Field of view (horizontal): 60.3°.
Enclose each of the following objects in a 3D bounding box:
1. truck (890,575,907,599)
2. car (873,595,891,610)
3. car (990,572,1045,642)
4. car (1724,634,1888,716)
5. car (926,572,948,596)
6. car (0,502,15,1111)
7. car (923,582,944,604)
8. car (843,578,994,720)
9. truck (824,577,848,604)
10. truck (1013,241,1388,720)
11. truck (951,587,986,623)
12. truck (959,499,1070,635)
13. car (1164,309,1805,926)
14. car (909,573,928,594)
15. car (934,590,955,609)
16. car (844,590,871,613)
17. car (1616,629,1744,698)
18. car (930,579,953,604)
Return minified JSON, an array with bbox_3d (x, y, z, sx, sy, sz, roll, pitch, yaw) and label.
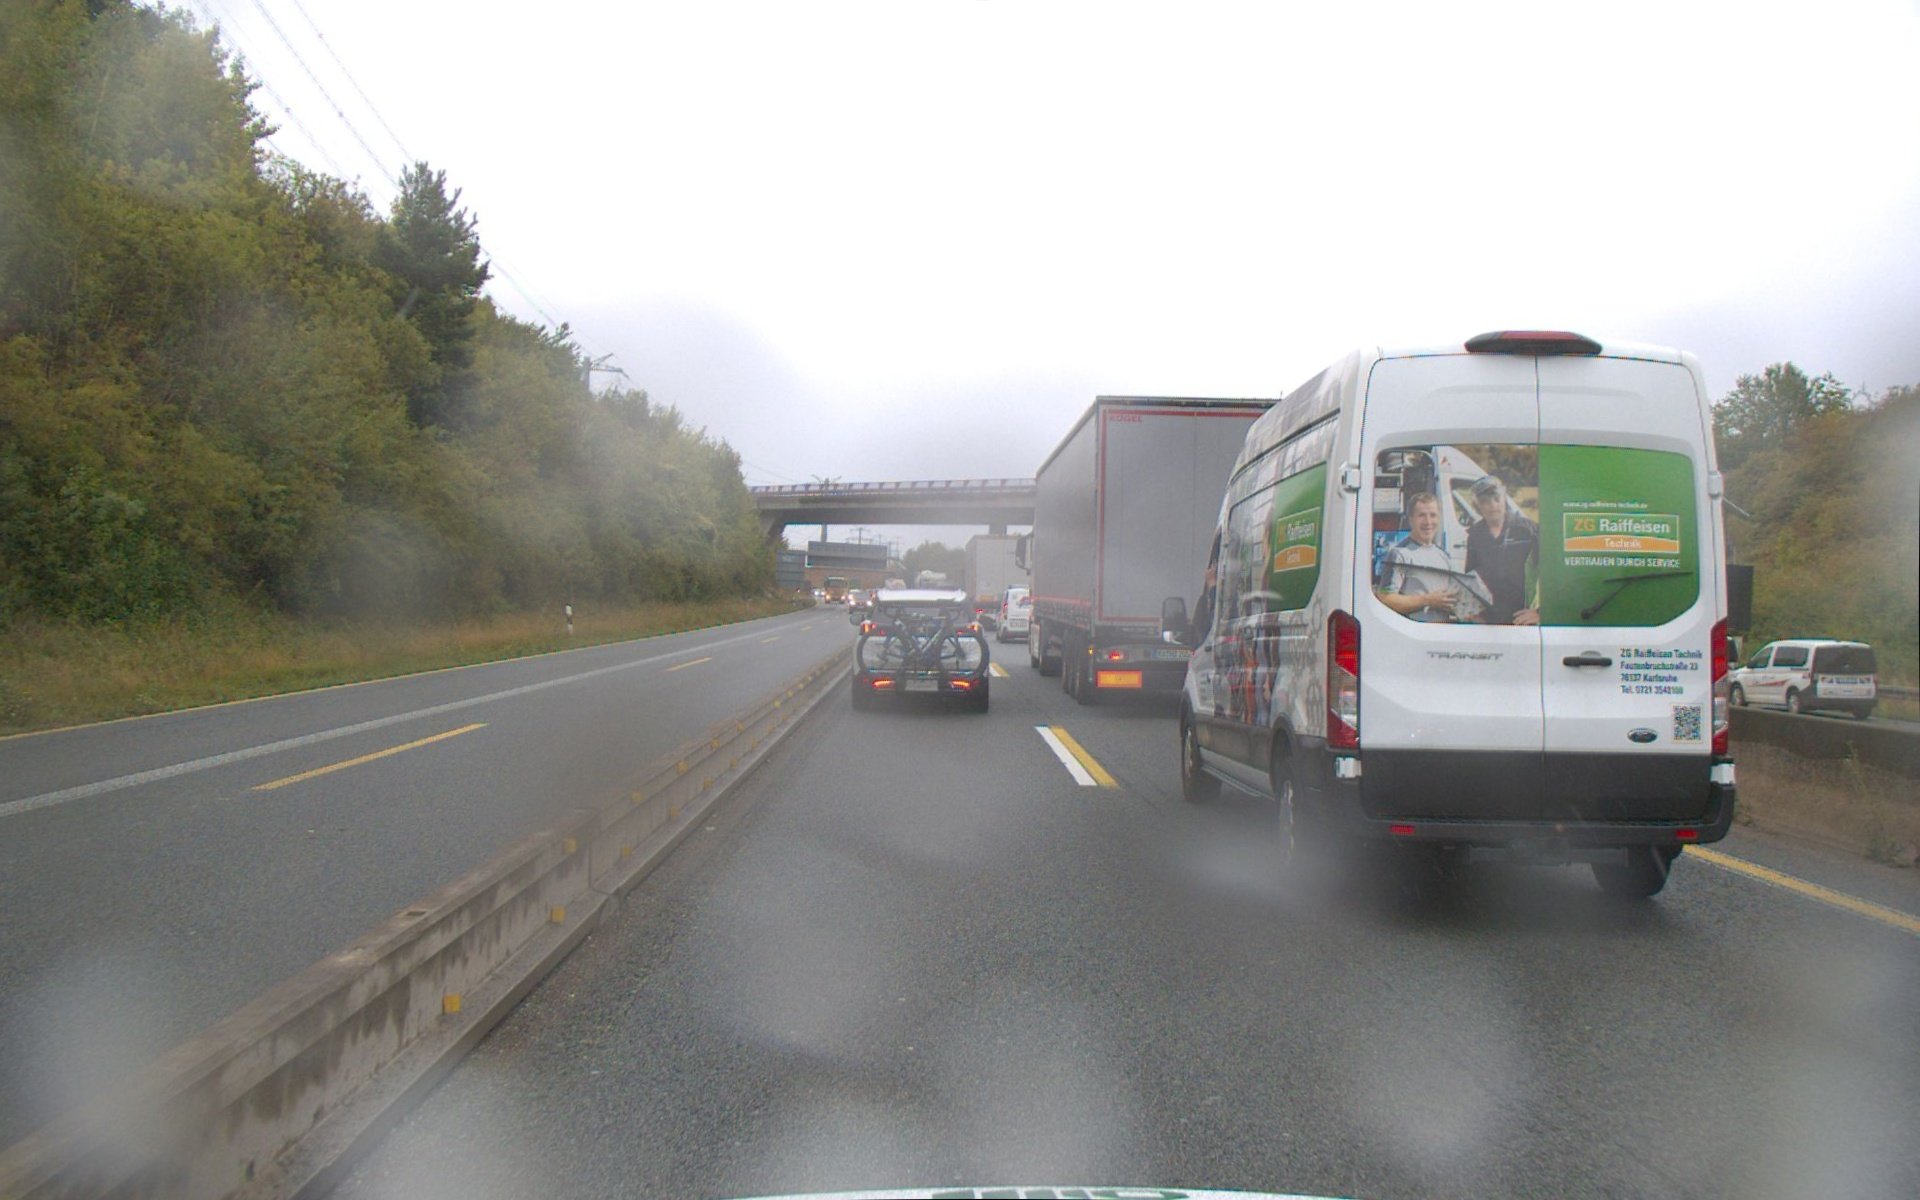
[{"bbox_3d":[-9.370,-1.965,251.540,2.484,3.411,12.045,1,0,-2],"label":"truck"},{"bbox_3d":[-8.952,0.340,190.201,1.773,1.661,4.117,1,0,0],"label":"car"},{"bbox_3d":[1.864,0.233,54.922,1.636,2.218,4.534,1,0,0],"label":"car"},{"bbox_3d":[20.699,1.786,40.681,1.694,1.800,4.327,1,0,-2],"label":"car"},{"bbox_3d":[-2.374,-1.612,169.587,2.194,2.347,4.571,1,0,-1],"label":"car"},{"bbox_3d":[-3.561,0.559,2.671,1.726,1.713,4.000,1,0,0],"label":"car"},{"bbox_3d":[-2.532,-0.653,156.729,1.953,2.049,3.999,1,0,-1],"label":"car"},{"bbox_3d":[-0.486,0.597,22.019,1.773,1.666,4.635,1,0,0],"label":"car"},{"bbox_3d":[-16.029,-1.182,214.578,2.484,3.411,12.045,1,0,-2],"label":"truck"},{"bbox_3d":[3.269,-1.411,30.353,3.898,5.772,20.374,1,0,0],"label":"truck"},{"bbox_3d":[0.496,0.293,98.991,1.953,2.049,3.999,1,0,-1],"label":"truck"},{"bbox_3d":[2.352,-1.366,80.857,4.646,5.772,20.374,1,0,0],"label":"truck"},{"bbox_3d":[2.725,0.092,10.454,2.100,2.723,6.117,1,0,0],"label":"car"},{"bbox_3d":[-4.546,-1.786,182.193,1.953,2.164,4.526,1,0,-1],"label":"car"},{"bbox_3d":[-1.231,-0.029,130.977,1.605,1.524,3.665,1,0,-1],"label":"car"},{"bbox_3d":[-7.402,0.119,119.828,1.758,1.583,3.999,1,0,-1],"label":"car"},{"bbox_3d":[20.568,1.782,47.435,1.694,1.788,4.266,1,0,-2],"label":"car"},{"bbox_3d":[-1.619,-0.698,142.701,1.953,2.049,3.999,1,0,-1],"label":"car"}]
